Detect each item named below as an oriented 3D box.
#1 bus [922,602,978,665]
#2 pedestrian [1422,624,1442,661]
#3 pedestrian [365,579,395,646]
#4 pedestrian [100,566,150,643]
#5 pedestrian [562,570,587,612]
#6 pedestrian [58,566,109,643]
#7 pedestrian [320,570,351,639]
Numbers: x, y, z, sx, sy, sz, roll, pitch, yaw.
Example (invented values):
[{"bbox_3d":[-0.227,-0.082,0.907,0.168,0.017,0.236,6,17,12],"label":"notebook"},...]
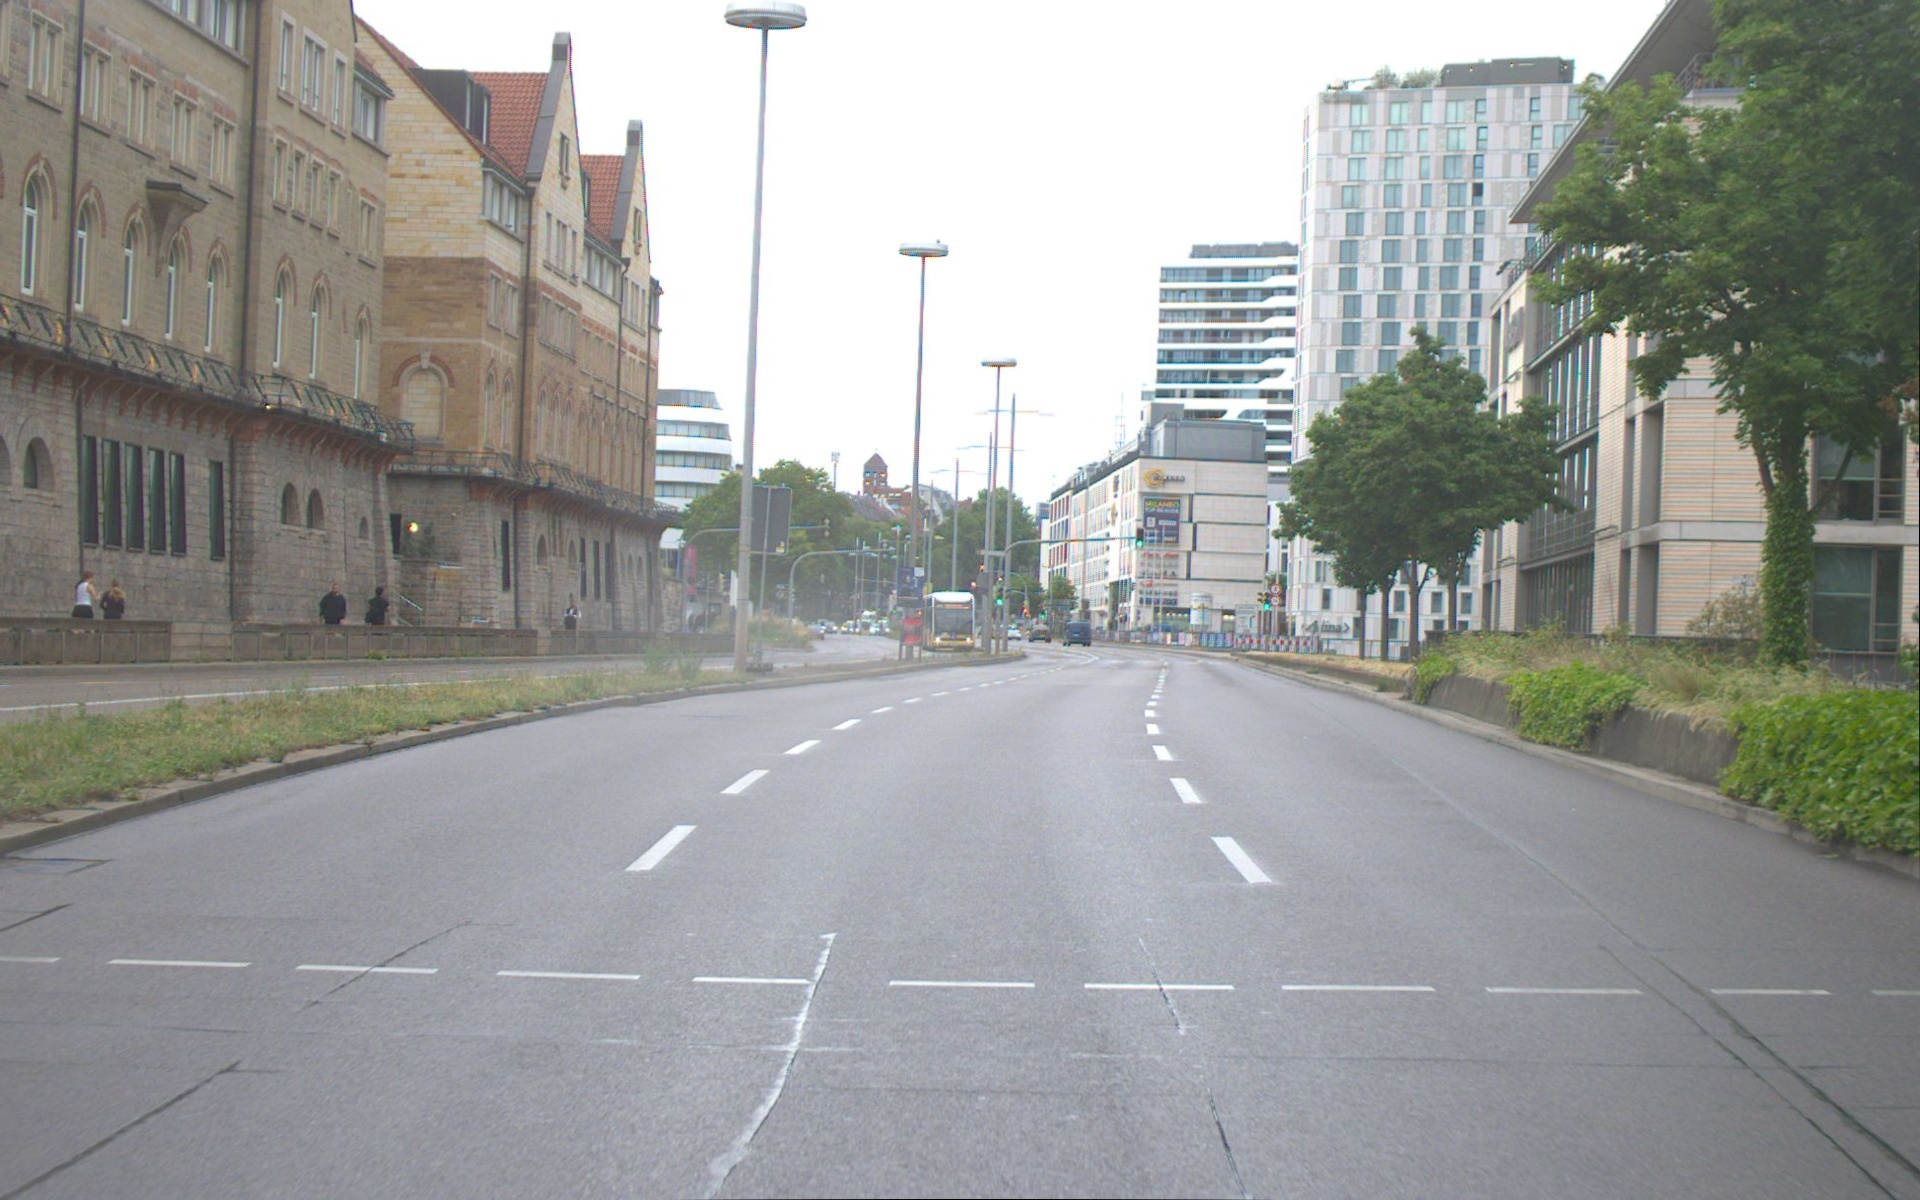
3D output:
[{"bbox_3d":[-0.556,1.986,201.199,2.698,3.547,10.092,1,-1,3],"label":"bus"},{"bbox_3d":[20.465,1.838,149.093,0.551,1.572,0.669,1,1,38],"label":"pedestrian"},{"bbox_3d":[-15.080,0.323,89.388,0.640,1.740,0.621,1,1,2],"label":"pedestrian"},{"bbox_3d":[-16.193,0.088,66.701,0.754,1.473,0.714,1,1,3],"label":"pedestrian"},{"bbox_3d":[-13.731,-0.312,122.472,0.754,1.473,0.714,1,1,3],"label":"pedestrian"},{"bbox_3d":[-17.011,0.092,66.728,0.754,1.473,0.714,1,1,3],"label":"pedestrian"},{"bbox_3d":[-15.956,0.112,87.875,0.640,1.740,0.621,1,1,2],"label":"pedestrian"}]
